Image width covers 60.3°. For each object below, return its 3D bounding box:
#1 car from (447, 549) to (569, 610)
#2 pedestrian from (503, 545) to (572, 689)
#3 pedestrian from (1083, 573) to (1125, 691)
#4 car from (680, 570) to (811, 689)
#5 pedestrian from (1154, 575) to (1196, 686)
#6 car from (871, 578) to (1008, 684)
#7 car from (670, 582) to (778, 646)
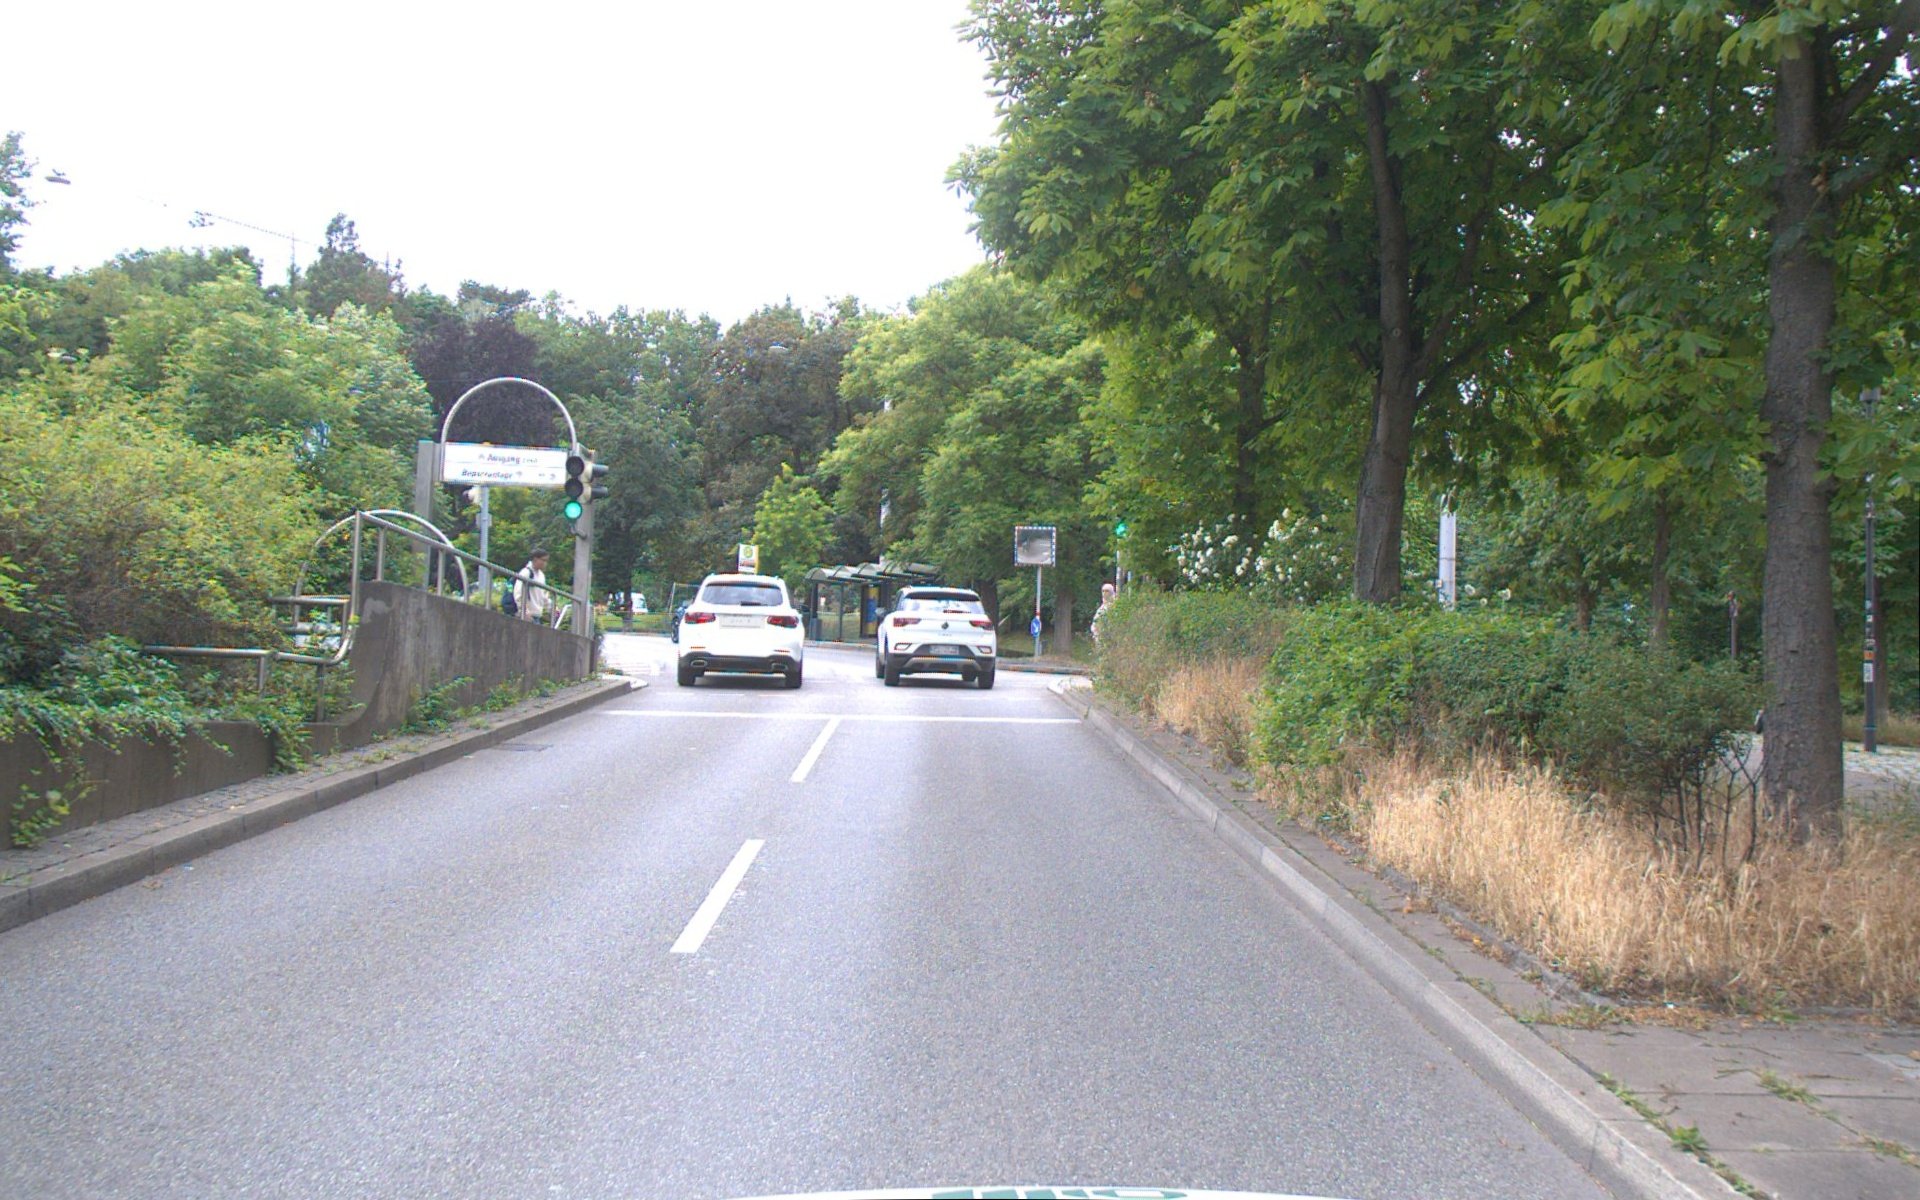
[{"bbox_3d":[-13.699,-0.591,49.973,2.227,1.545,4.258,7,-4,-33],"label":"car"},{"bbox_3d":[-5.666,0.223,22.214,0.690,1.893,0.614,1,0,5],"label":"pedestrian"},{"bbox_3d":[2.164,0.473,24.916,0.602,1.742,0.727,0,-1,3],"label":"pedestrian"},{"bbox_3d":[-3.350,0.413,25.615,1.842,1.681,4.333,0,0,-8],"label":"car"},{"bbox_3d":[3.405,0.477,26.194,0.602,1.742,0.727,0,-1,3],"label":"pedestrian"},{"bbox_3d":[-0.408,0.494,27.243,1.829,1.583,3.888,1,-1,-7],"label":"car"},{"bbox_3d":[-6.704,0.368,46.620,1.838,1.660,3.926,3,-1,-26],"label":"car"}]
